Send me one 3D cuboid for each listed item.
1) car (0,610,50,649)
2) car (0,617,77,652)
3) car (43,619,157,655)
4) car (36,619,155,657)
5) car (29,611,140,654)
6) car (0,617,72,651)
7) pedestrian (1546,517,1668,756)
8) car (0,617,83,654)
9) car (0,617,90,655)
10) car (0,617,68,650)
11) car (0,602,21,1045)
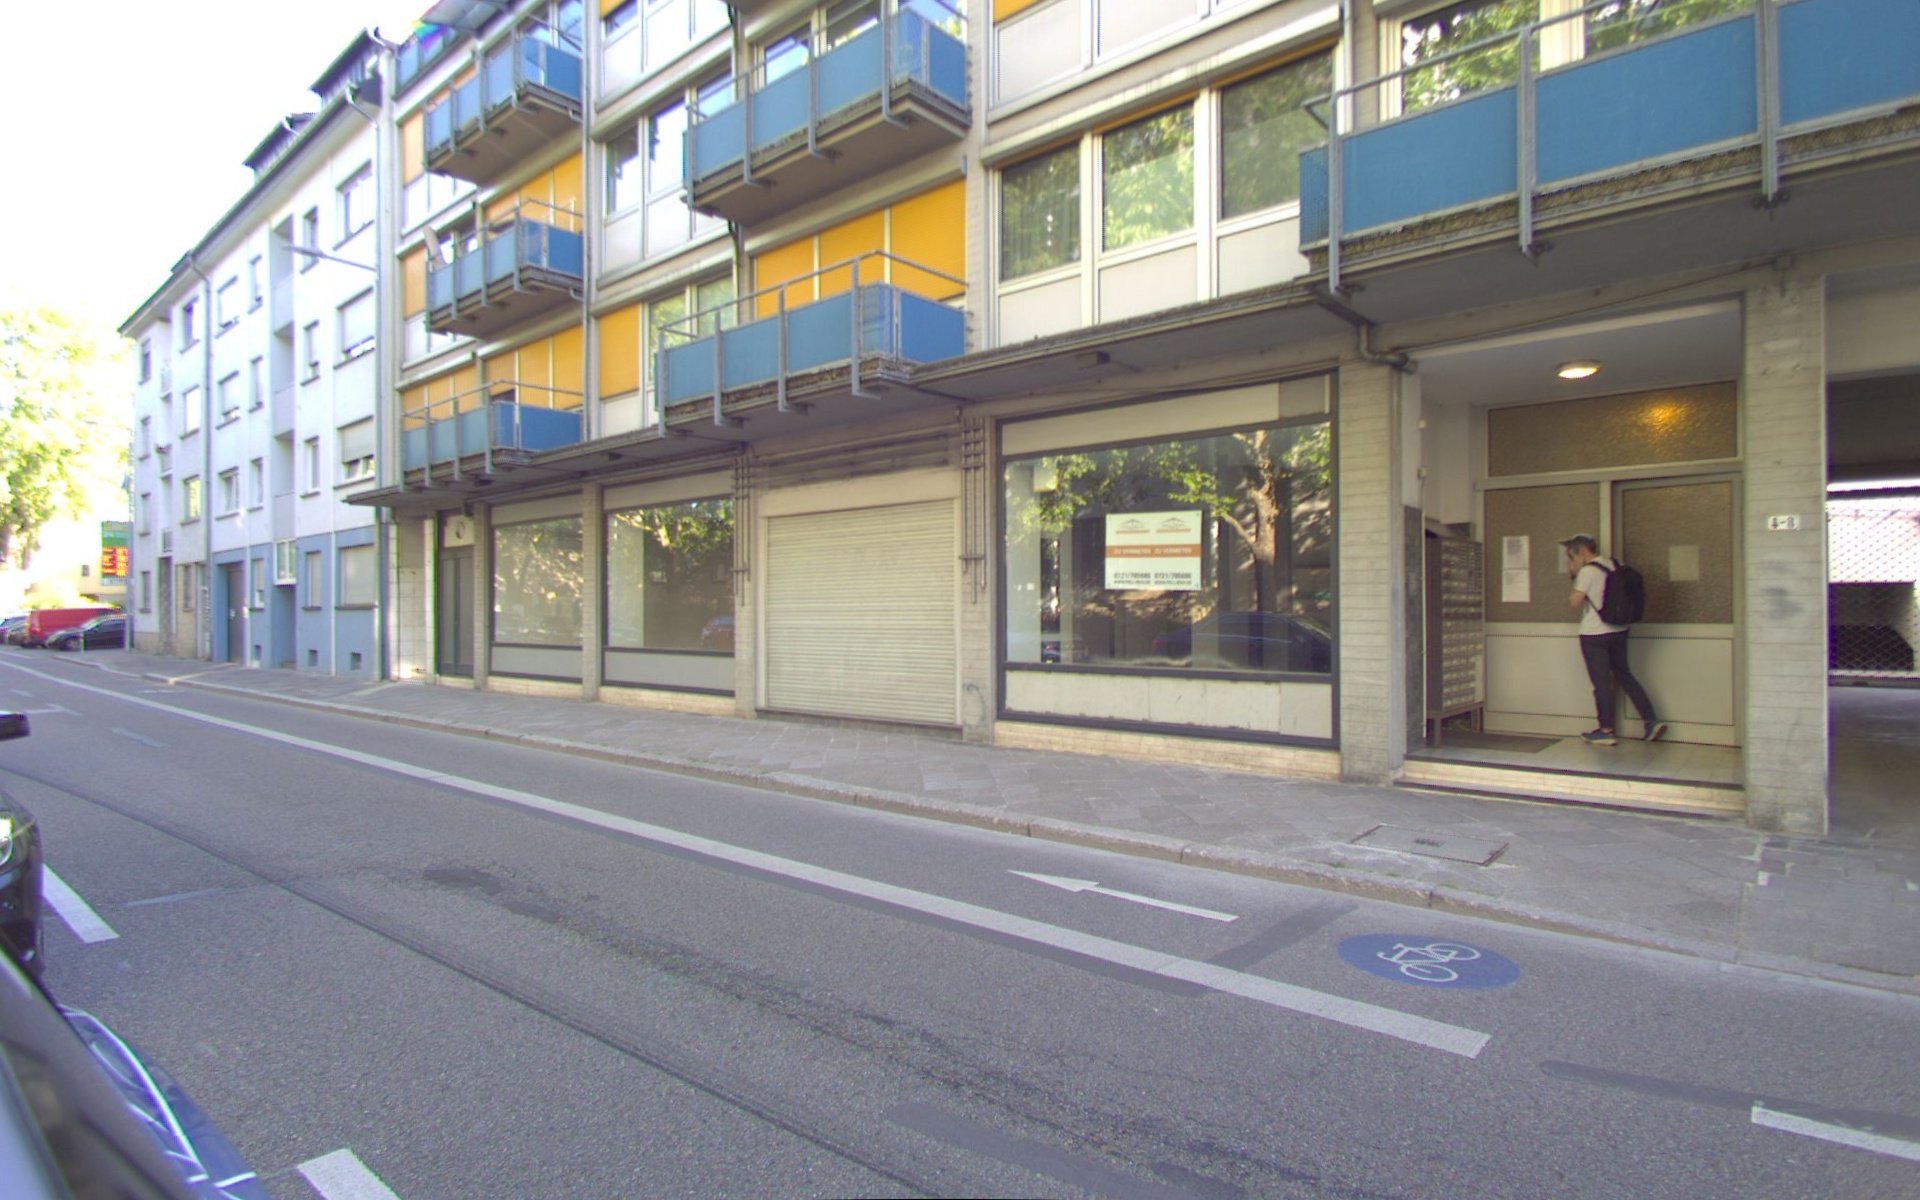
[{"bbox_3d":[-62.811,1.949,66.792,2.000,2.538,3.944,-1,0,42],"label":"car"},{"bbox_3d":[-55.614,2.056,60.572,2.000,1.962,3.944,-1,0,42],"label":"car"},{"bbox_3d":[-41.188,1.737,48.534,2.000,1.564,3.944,-1,0,42],"label":"car"},{"bbox_3d":[-39.769,1.719,46.612,2.000,1.564,3.944,-1,0,42],"label":"car"},{"bbox_3d":[-43.443,1.566,50.259,2.000,1.962,3.944,-1,0,42],"label":"car"},{"bbox_3d":[-57.420,2.079,62.290,2.000,1.962,3.944,-1,0,42],"label":"car"},{"bbox_3d":[5.386,0.292,8.463,0.783,1.894,0.576,-1,0,28],"label":"pedestrian"},{"bbox_3d":[-53.533,2.029,58.619,2.000,1.962,3.944,-1,0,42],"label":"car"},{"bbox_3d":[-51.583,2.004,56.837,2.000,1.962,3.944,-1,0,42],"label":"car"},{"bbox_3d":[-59.219,2.102,64.023,2.000,1.962,3.944,-1,0,42],"label":"car"},{"bbox_3d":[-5.536,0.804,4.286,4.479,1.512,1.842,-1,-1,41],"label":"car"}]
